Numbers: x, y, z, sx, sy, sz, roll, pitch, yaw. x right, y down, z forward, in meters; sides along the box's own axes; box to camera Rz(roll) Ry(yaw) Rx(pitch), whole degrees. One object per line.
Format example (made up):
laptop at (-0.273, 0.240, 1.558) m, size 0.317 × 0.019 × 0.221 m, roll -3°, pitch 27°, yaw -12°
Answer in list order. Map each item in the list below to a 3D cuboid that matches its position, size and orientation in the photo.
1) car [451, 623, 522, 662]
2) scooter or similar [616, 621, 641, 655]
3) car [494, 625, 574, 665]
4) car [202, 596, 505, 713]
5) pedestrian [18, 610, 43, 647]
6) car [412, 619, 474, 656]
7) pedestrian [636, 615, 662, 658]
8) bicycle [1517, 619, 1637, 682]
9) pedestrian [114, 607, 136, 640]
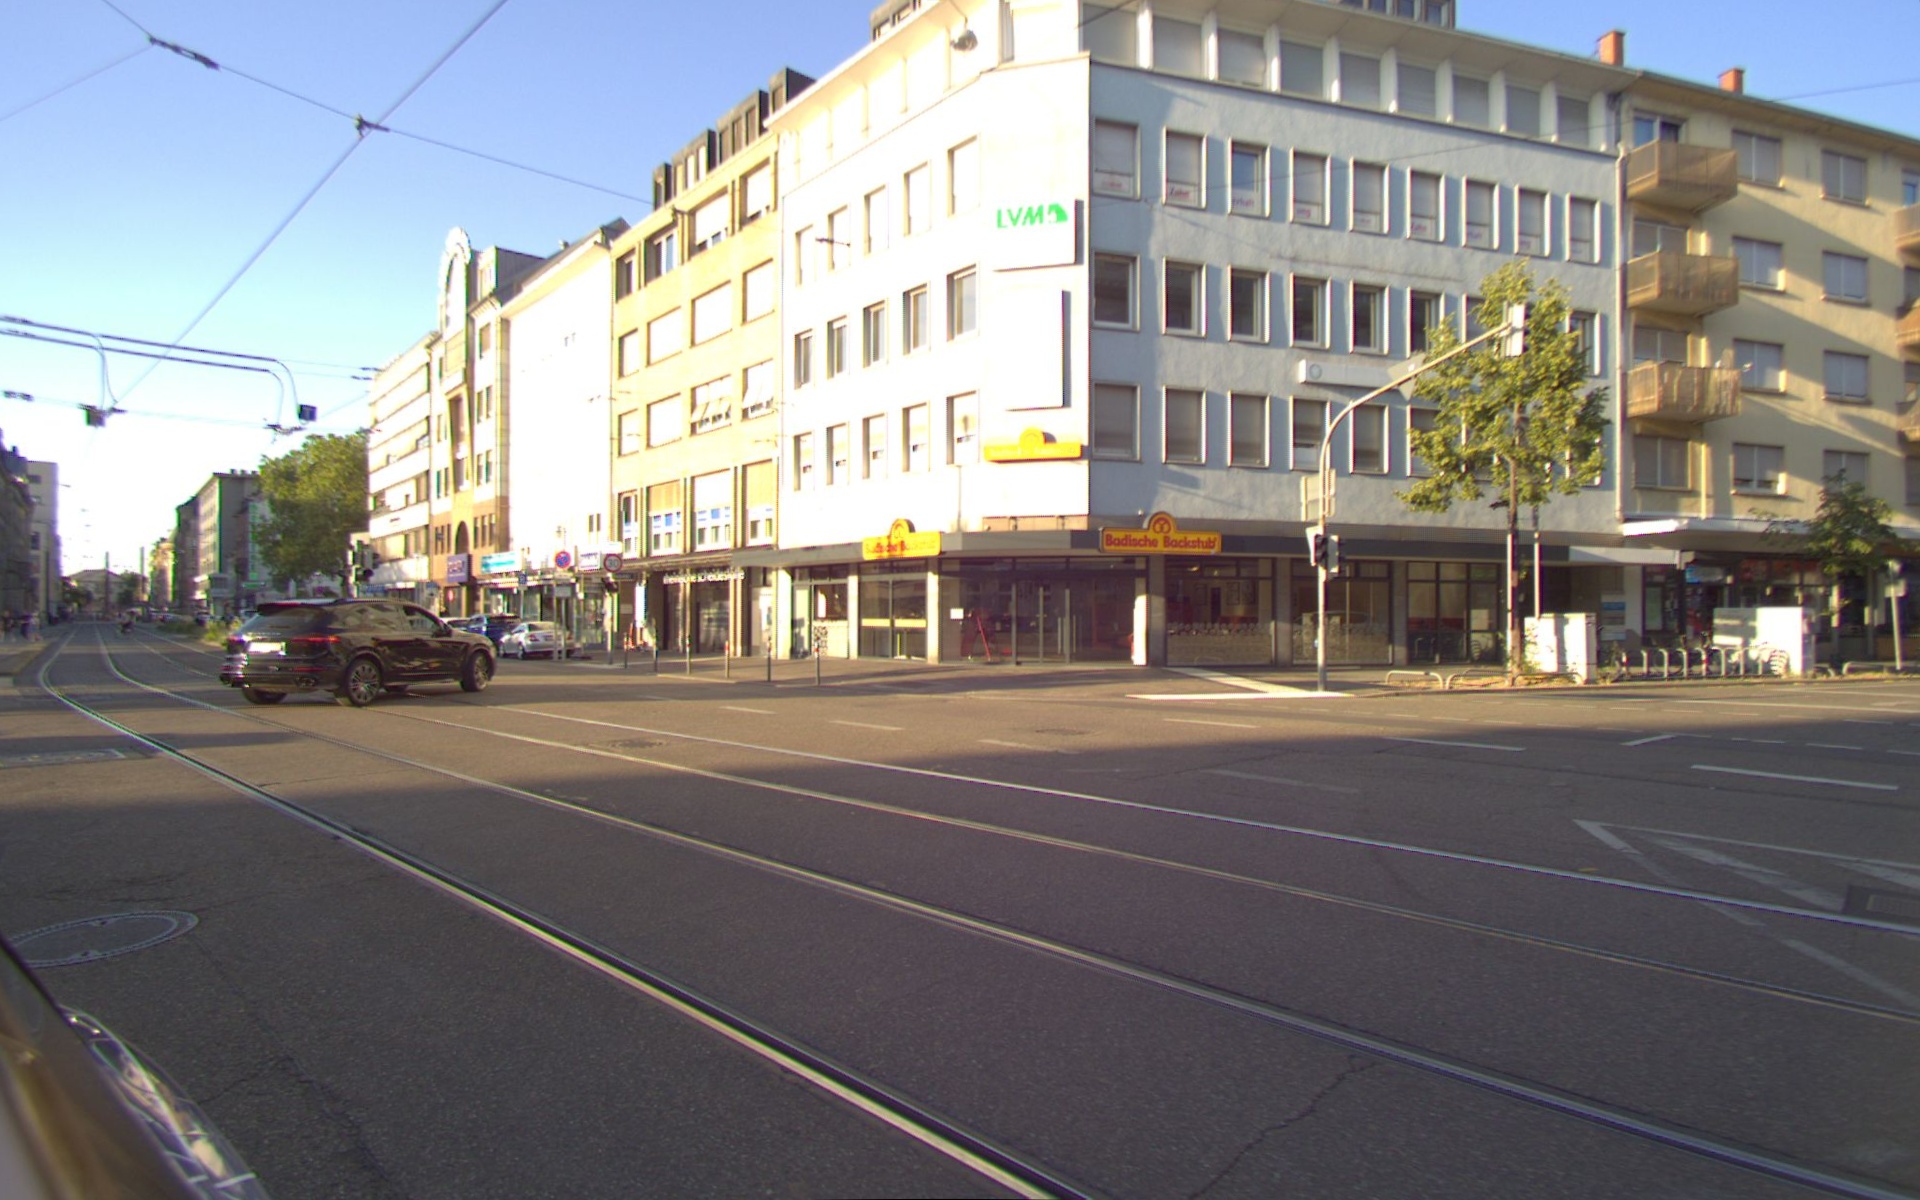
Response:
car at (-18.401, 1.623, 39.279) m, size 1.612 × 1.364 × 3.394 m, roll -3°, pitch 0°, yaw -41°
scooter or similar at (-12.548, 1.438, 38.283) m, size 0.389 × 1.268 × 1.469 m, roll -1°, pitch -1°, yaw -39°
car at (-15.133, 1.573, 35.851) m, size 1.612 × 1.263 × 3.394 m, roll -3°, pitch 0°, yaw -41°
car at (-9.996, 0.845, 17.183) m, size 1.788 × 1.711 × 4.550 m, roll -1°, pitch -1°, yaw 13°
pedestrian at (-53.319, 1.630, 58.057) m, size 0.827 × 2.028 × 0.717 m, roll 1°, pitch 1°, yaw -11°
car at (-22.565, 1.636, 44.129) m, size 1.612 × 1.475 × 3.394 m, roll -3°, pitch 0°, yaw -41°
pedestrian at (-11.184, 1.307, 36.428) m, size 0.623 × 1.483 × 0.538 m, roll -2°, pitch 1°, yaw 33°
bicycle at (13.886, 1.104, 22.871) m, size 0.629 × 1.262 × 2.382 m, roll 1°, pitch 0°, yaw -22°
pedestrian at (-52.612, 1.469, 63.761) m, size 0.832 × 2.028 × 0.712 m, roll 2°, pitch 1°, yaw 12°
